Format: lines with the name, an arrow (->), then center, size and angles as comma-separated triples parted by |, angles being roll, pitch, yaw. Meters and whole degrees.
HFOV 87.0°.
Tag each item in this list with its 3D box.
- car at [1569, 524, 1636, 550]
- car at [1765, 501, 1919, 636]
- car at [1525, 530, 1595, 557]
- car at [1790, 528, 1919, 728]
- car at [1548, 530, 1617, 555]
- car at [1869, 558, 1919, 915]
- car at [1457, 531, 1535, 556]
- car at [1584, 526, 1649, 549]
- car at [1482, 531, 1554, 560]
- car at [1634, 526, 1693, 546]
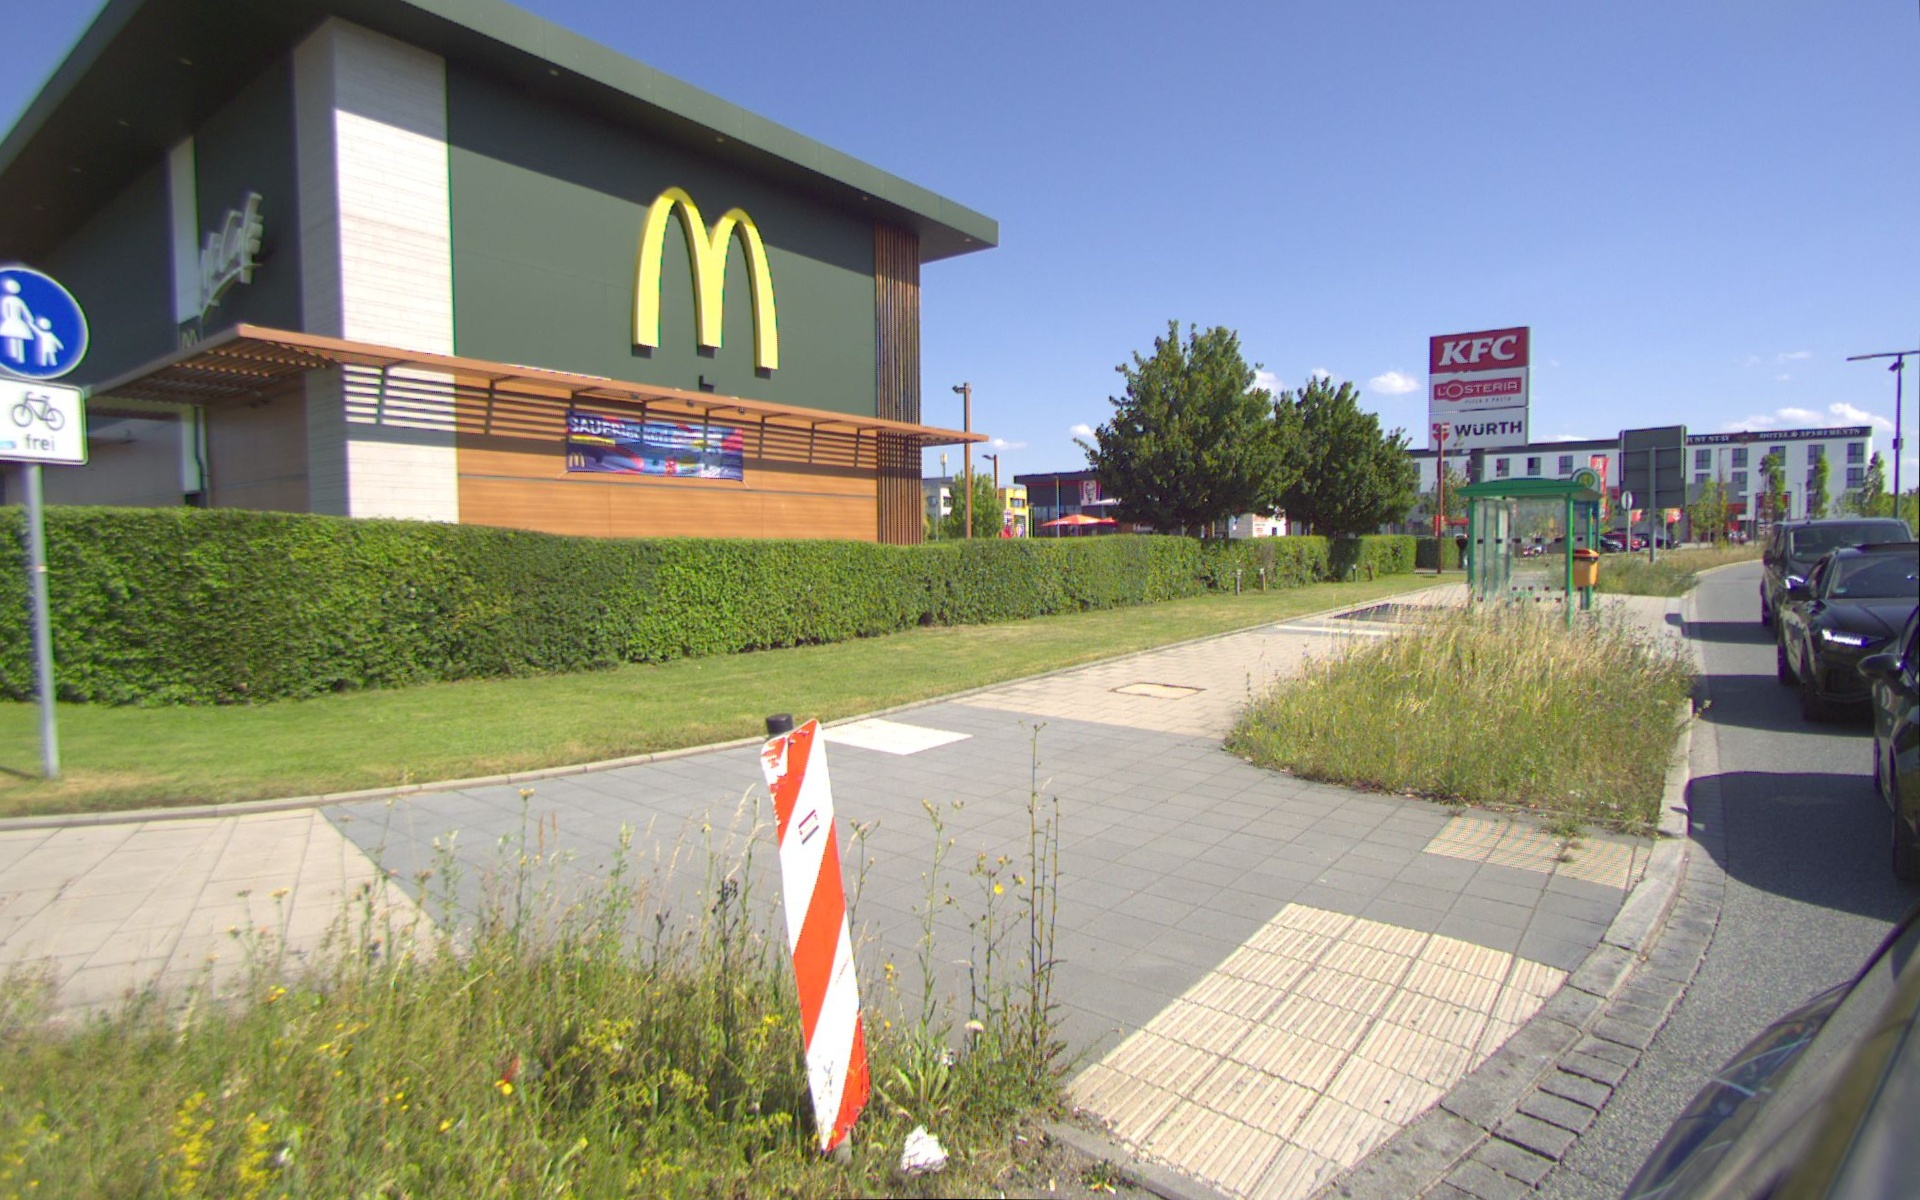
car -> 51.765, -5.050, 81.563 | 1.900, 2.038, 4.182 | -3, 4, -40
car -> 15.582, -0.599, 17.855 | 2.070, 2.073, 4.619 | -2, 2, 39
car -> 45.789, -4.285, 77.293 | 1.899, 2.038, 4.185 | -3, 4, -38
car -> 9.653, 0.145, 10.258 | 1.854, 1.709, 3.945 | -2, 2, 39
car -> 48.045, -4.428, 78.155 | 1.769, 1.880, 4.189 | -3, 3, -34
car -> 6.032, 0.557, 5.298 | 1.856, 1.486, 3.940 | 2, 4, 42
car -> 36.977, -3.897, 69.895 | 4.430, 1.672, 1.903 | 2, 4, 45
car -> 54.244, -5.141, 83.696 | 1.790, 1.783, 4.188 | -3, 3, -35
car -> 40.266, -3.936, 73.090 | 1.898, 2.038, 4.185 | -3, 4, -37
car -> 60.130, -5.421, 86.511 | 1.726, 1.639, 3.822 | -3, 4, -39
